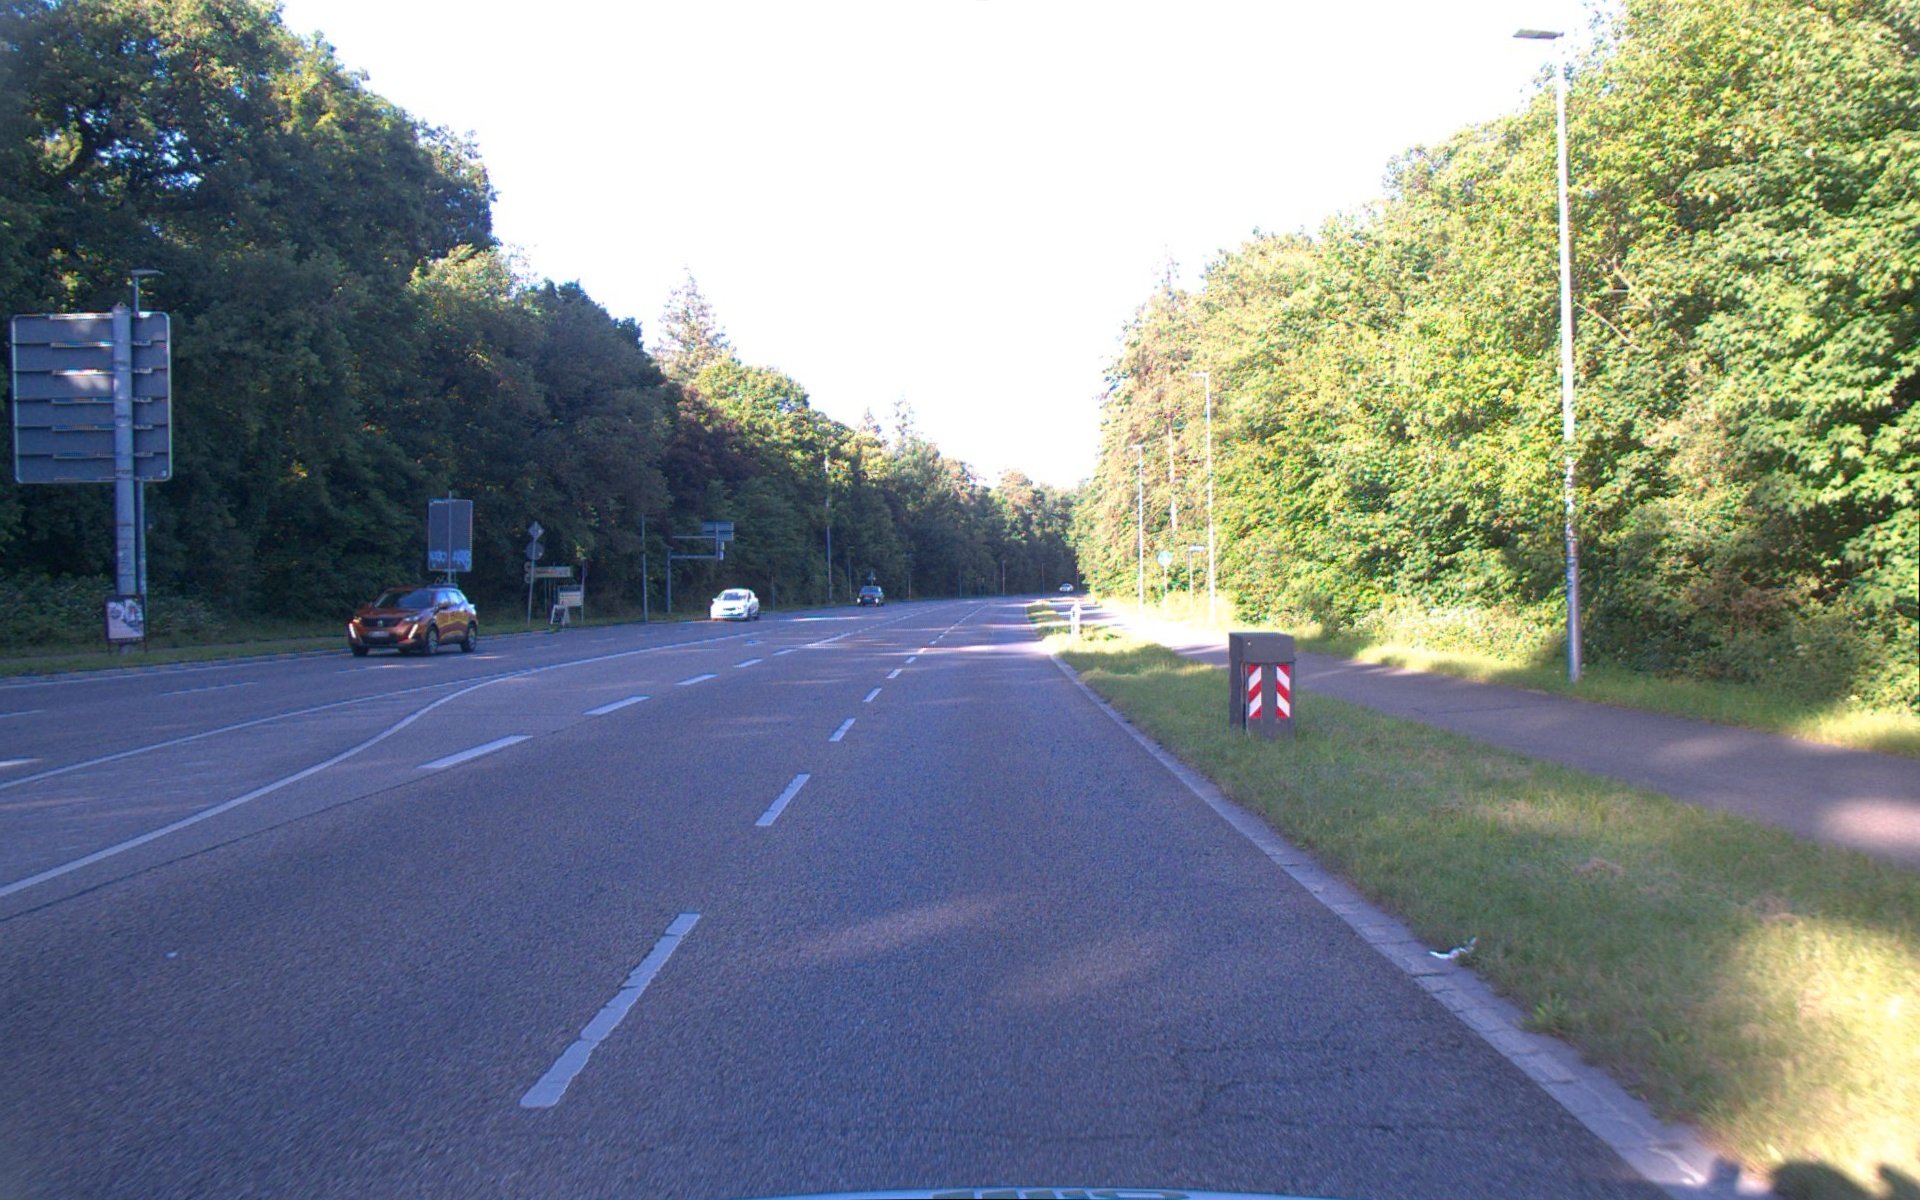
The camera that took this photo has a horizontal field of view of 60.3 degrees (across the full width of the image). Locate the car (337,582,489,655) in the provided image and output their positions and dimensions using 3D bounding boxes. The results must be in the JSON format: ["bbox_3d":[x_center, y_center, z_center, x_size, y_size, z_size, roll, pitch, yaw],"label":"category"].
[{"bbox_3d":[-12.320,0.385,37.542,1.786,1.572,4.258,0,0,4],"label":"car"}]

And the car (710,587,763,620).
[{"bbox_3d":[-10.650,0.130,79.002,1.787,1.530,4.307,0,0,2],"label":"car"}]

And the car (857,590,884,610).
[{"bbox_3d":[-7.225,-0.015,133.591,1.787,1.617,4.352,0,0,2],"label":"car"}]
